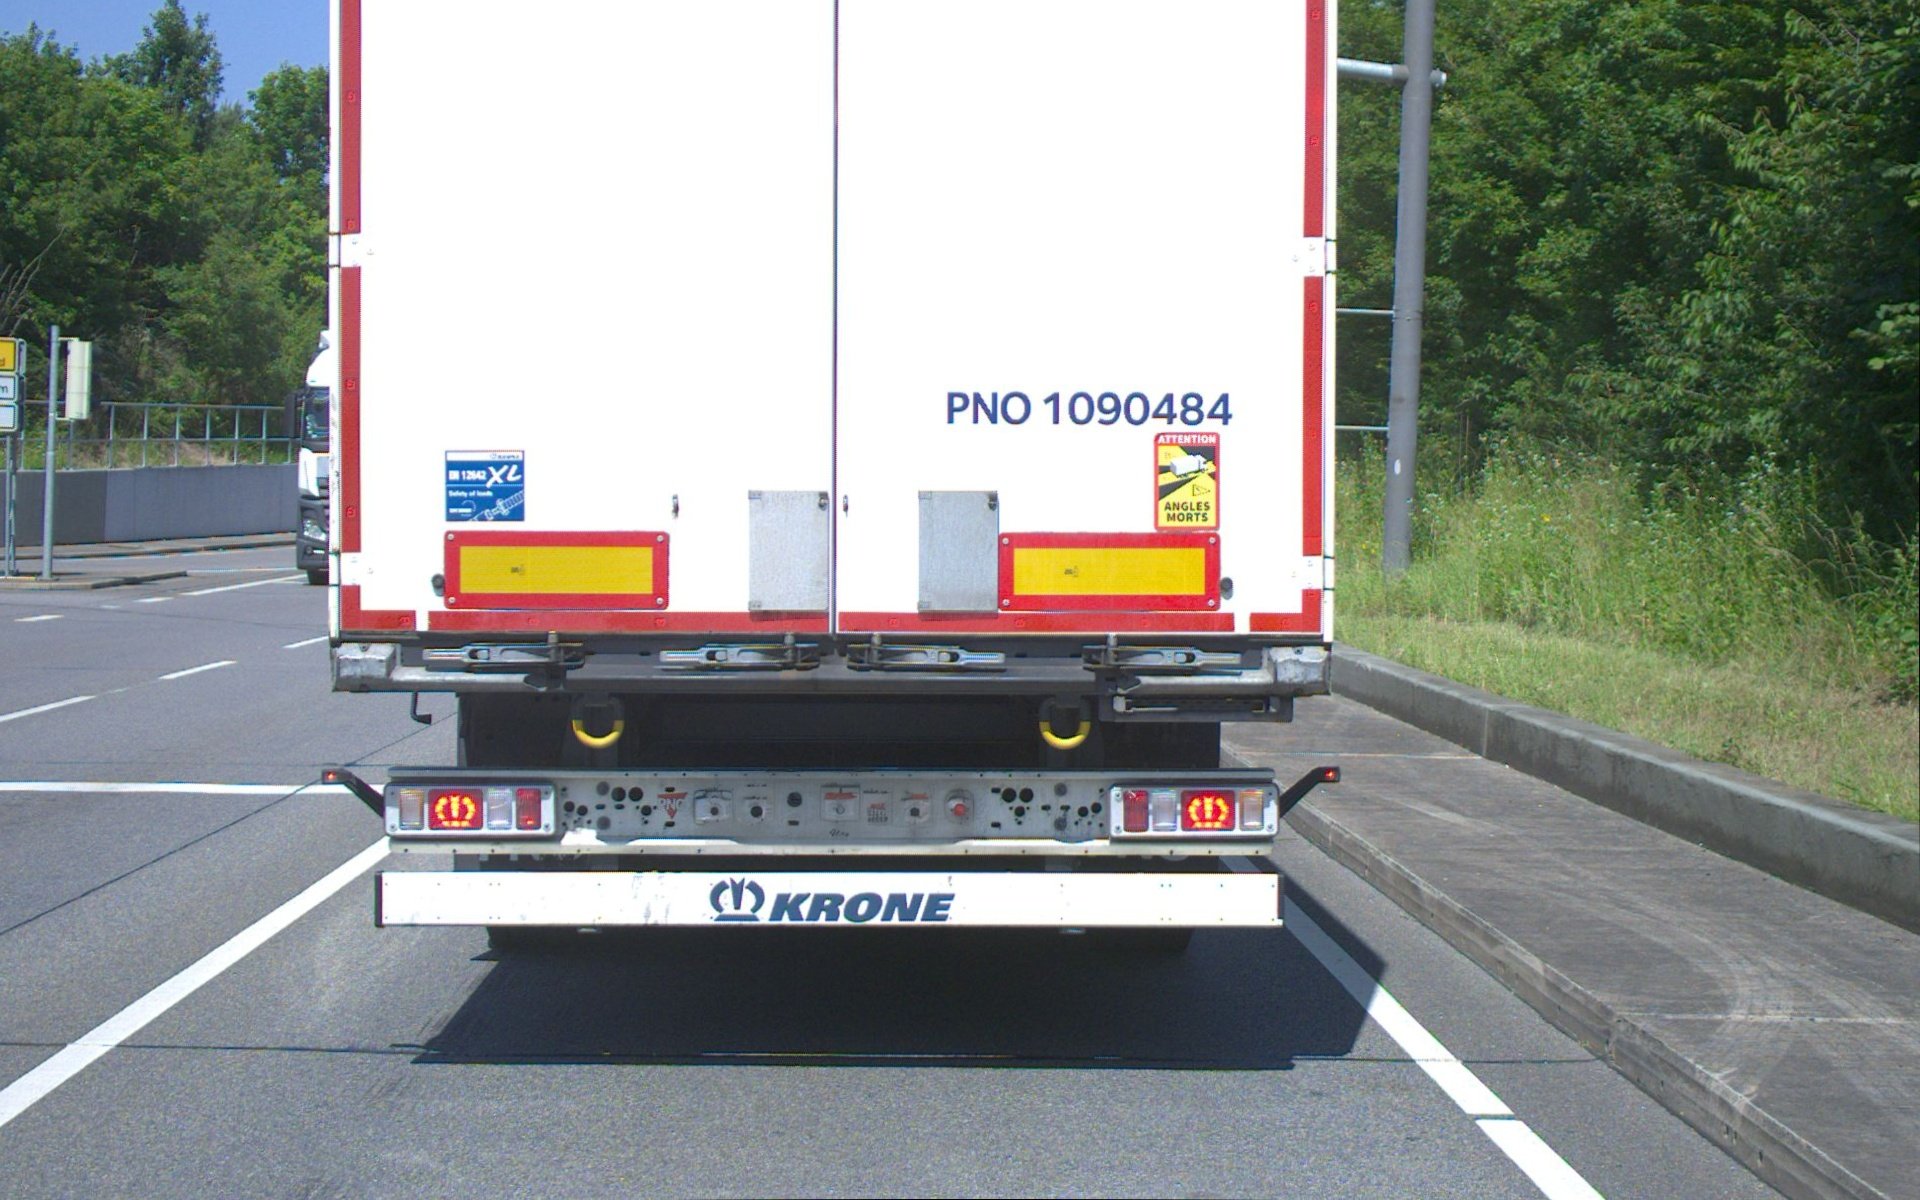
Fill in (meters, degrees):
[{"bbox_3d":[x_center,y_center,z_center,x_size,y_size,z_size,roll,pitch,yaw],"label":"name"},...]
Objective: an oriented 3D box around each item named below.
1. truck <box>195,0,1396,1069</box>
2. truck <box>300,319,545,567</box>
[{"bbox_3d":[-0.441,-1.286,13.429,2.950,4.552,9.864,1,2,0],"label":"truck"},{"bbox_3d":[-8.925,-2.645,58.527,2.353,3.736,12.627,1,2,-1],"label":"truck"}]
